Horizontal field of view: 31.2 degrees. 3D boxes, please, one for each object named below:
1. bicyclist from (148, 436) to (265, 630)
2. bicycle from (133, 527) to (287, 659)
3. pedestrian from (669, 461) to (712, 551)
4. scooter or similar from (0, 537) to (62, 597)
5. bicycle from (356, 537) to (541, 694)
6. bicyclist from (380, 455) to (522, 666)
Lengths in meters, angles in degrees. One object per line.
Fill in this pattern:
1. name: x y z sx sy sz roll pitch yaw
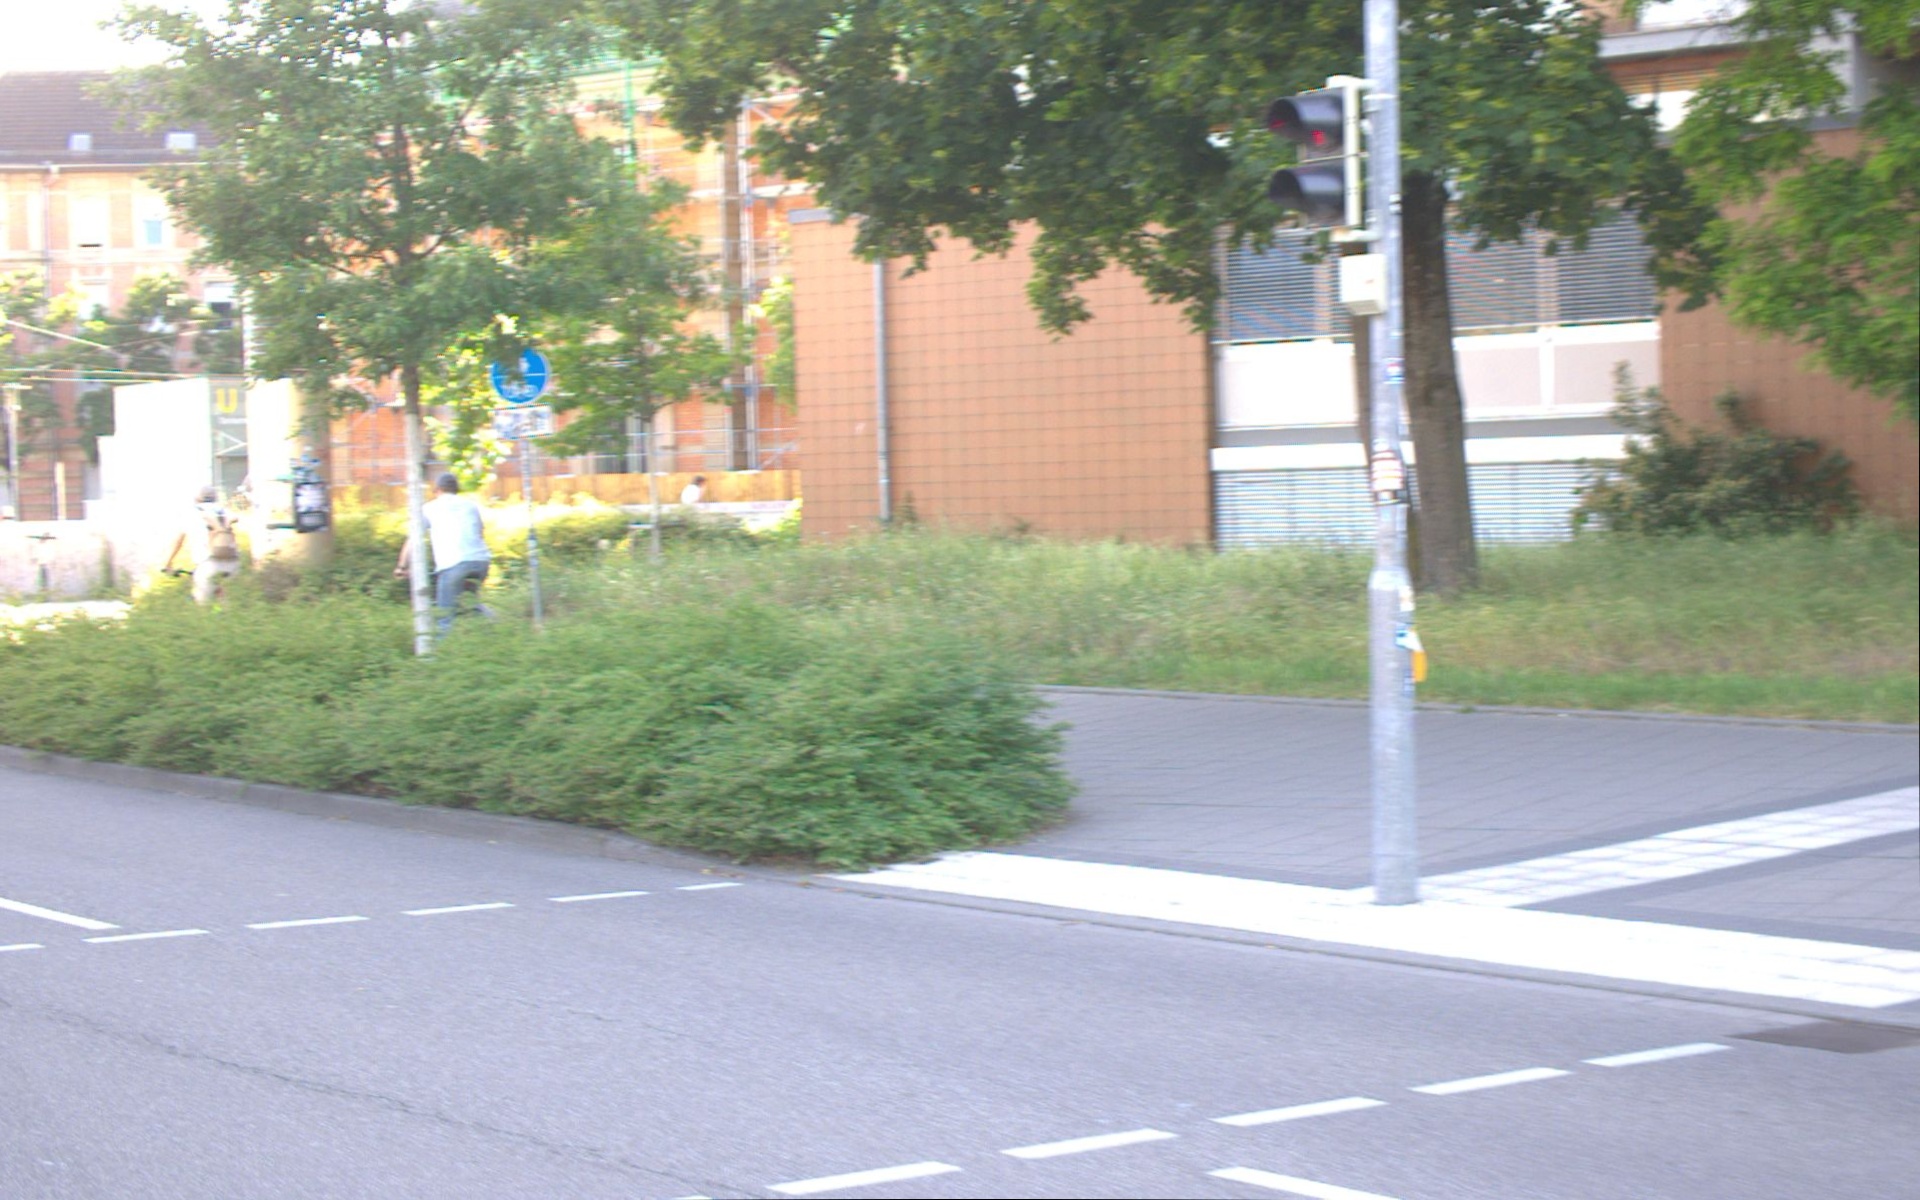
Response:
1. bicyclist: -7.021 -0.630 32.015 0.720 1.756 0.978 -3 3 -33
2. bicycle: -6.997 -0.082 32.024 0.746 1.161 1.870 -3 3 -33
3. pedestrian: -5.301 -1.844 67.641 0.786 1.746 0.538 0 3 3
4. scooter or similar: -16.489 -0.588 61.035 1.249 1.009 0.467 3 5 43
5. bicycle: -4.050 0.098 27.118 0.716 1.161 1.870 -3 3 -32
6. bicyclist: -4.003 -0.323 27.020 0.720 1.611 0.978 -3 3 -32
